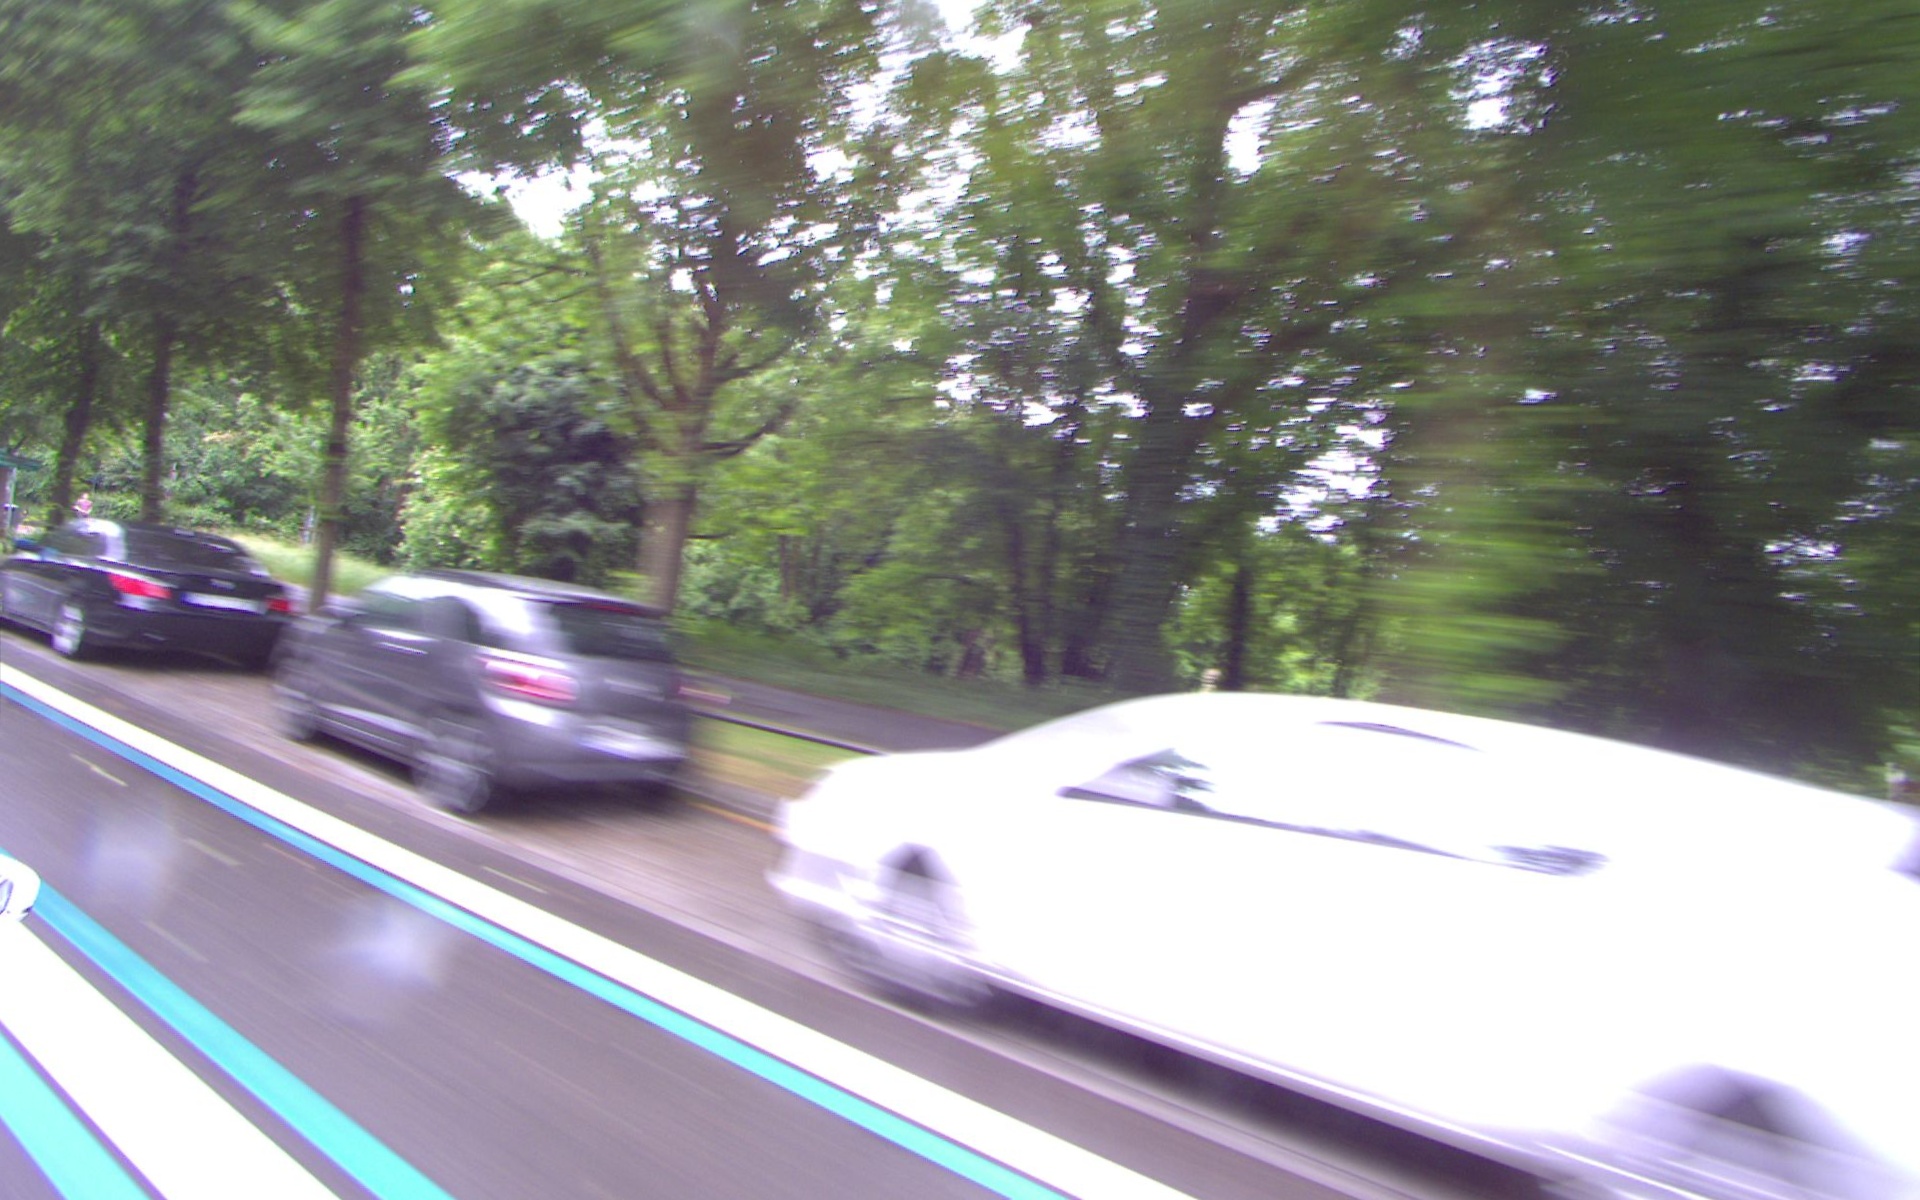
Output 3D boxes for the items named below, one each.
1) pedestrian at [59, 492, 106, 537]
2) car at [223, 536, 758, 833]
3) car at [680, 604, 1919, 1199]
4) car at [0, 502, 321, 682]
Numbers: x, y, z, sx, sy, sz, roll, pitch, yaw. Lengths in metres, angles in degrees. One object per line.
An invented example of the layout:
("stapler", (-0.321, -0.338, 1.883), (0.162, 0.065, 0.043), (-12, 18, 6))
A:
("pedestrian", (-38.283, -3.722, 43.875), (1.124, 1.753, 0.891), (8, -1, 14))
("car", (-3.675, 0.493, 7.549), (4.252, 1.444, 1.685), (7, -3, 37))
("car", (1.191, 1.071, 4.170), (4.574, 1.444, 1.863), (7, -3, 34))
("car", (-9.393, -0.161, 11.397), (4.768, 1.423, 1.785), (7, -3, 34))
